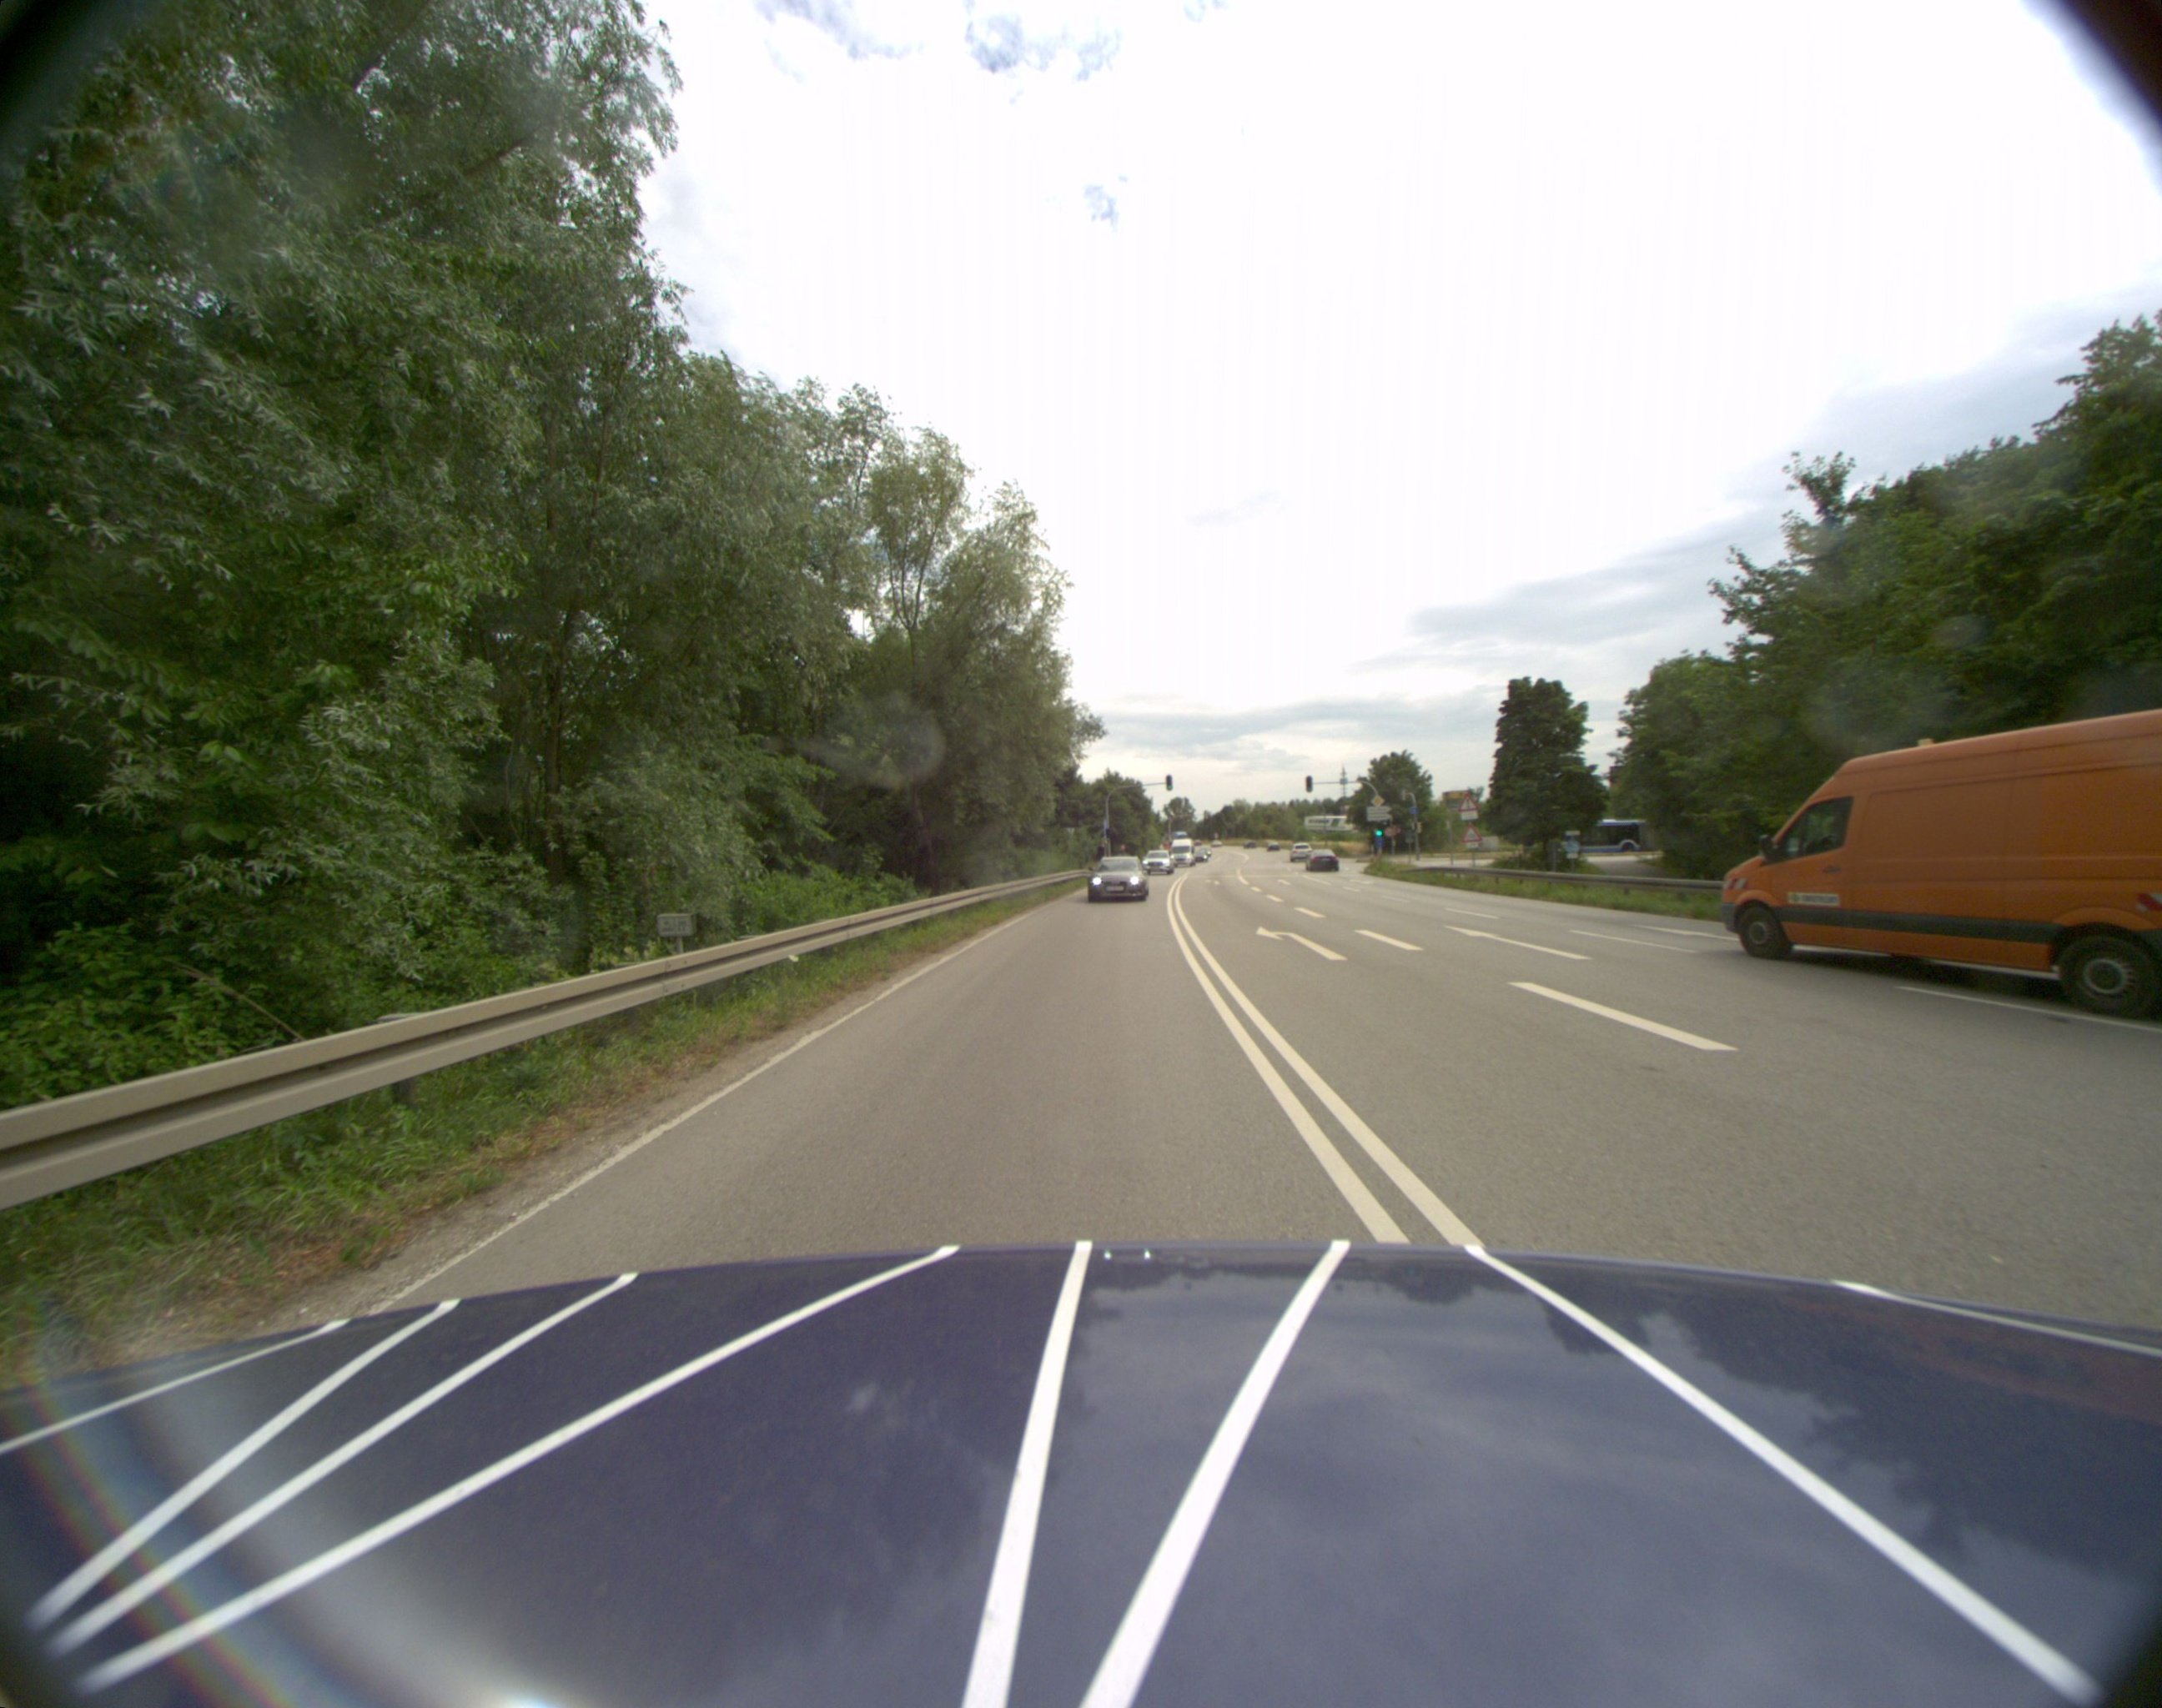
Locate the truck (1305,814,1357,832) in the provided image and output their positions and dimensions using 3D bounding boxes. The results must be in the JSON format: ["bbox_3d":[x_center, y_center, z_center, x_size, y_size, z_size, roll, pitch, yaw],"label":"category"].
[{"bbox_3d":[62.567,-7.927,191.080,3.367,4.303,14.172,-3,4,-27],"label":"truck"}]

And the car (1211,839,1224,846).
[{"bbox_3d":[31.894,-2.634,177.288,1.745,1.477,3.997,-4,1,-7],"label":"car"}]

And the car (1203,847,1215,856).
[{"bbox_3d":[19.593,-0.355,116.184,1.743,1.317,4.003,0,0,10],"label":"car"}]

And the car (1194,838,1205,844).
[{"bbox_3d":[30.708,-3.308,197.071,1.745,1.377,3.997,-4,2,-5],"label":"car"}]

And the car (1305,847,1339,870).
[{"bbox_3d":[16.384,0.282,51.795,1.720,1.489,4.552,-1,0,12],"label":"car"}]

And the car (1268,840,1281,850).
[{"bbox_3d":[31.074,-1.502,122.204,1.743,1.477,4.202,-2,1,10],"label":"car"}]

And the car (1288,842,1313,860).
[{"bbox_3d":[20.794,-0.273,72.042,1.861,1.634,4.741,-1,0,12],"label":"car"}]

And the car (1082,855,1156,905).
[{"bbox_3d":[1.399,0.822,26.028,1.963,1.447,4.799,-1,1,9],"label":"car"}]

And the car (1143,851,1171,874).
[{"bbox_3d":[5.159,0.547,51.835,1.826,1.489,4.225,0,1,5],"label":"car"}]

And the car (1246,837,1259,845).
[{"bbox_3d":[33.631,-2.588,149.130,1.744,1.377,4.000,-4,1,3],"label":"car"}]

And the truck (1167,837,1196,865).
[{"bbox_3d":[9.981,-0.345,74.978,2.377,2.579,6.003,-1,1,11],"label":"truck"}]

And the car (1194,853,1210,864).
[{"bbox_3d":[14.304,0.498,89.653,1.743,1.317,4.003,0,0,10],"label":"car"}]

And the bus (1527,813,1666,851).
[{"bbox_3d":[45.826,-1.939,67.746,10.064,3.029,3.122,-2,1,2],"label":"bus"}]

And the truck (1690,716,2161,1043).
[{"bbox_3d":[9.869,0.161,8.034,2.321,2.585,6.025,-3,0,5],"label":"truck"}]
